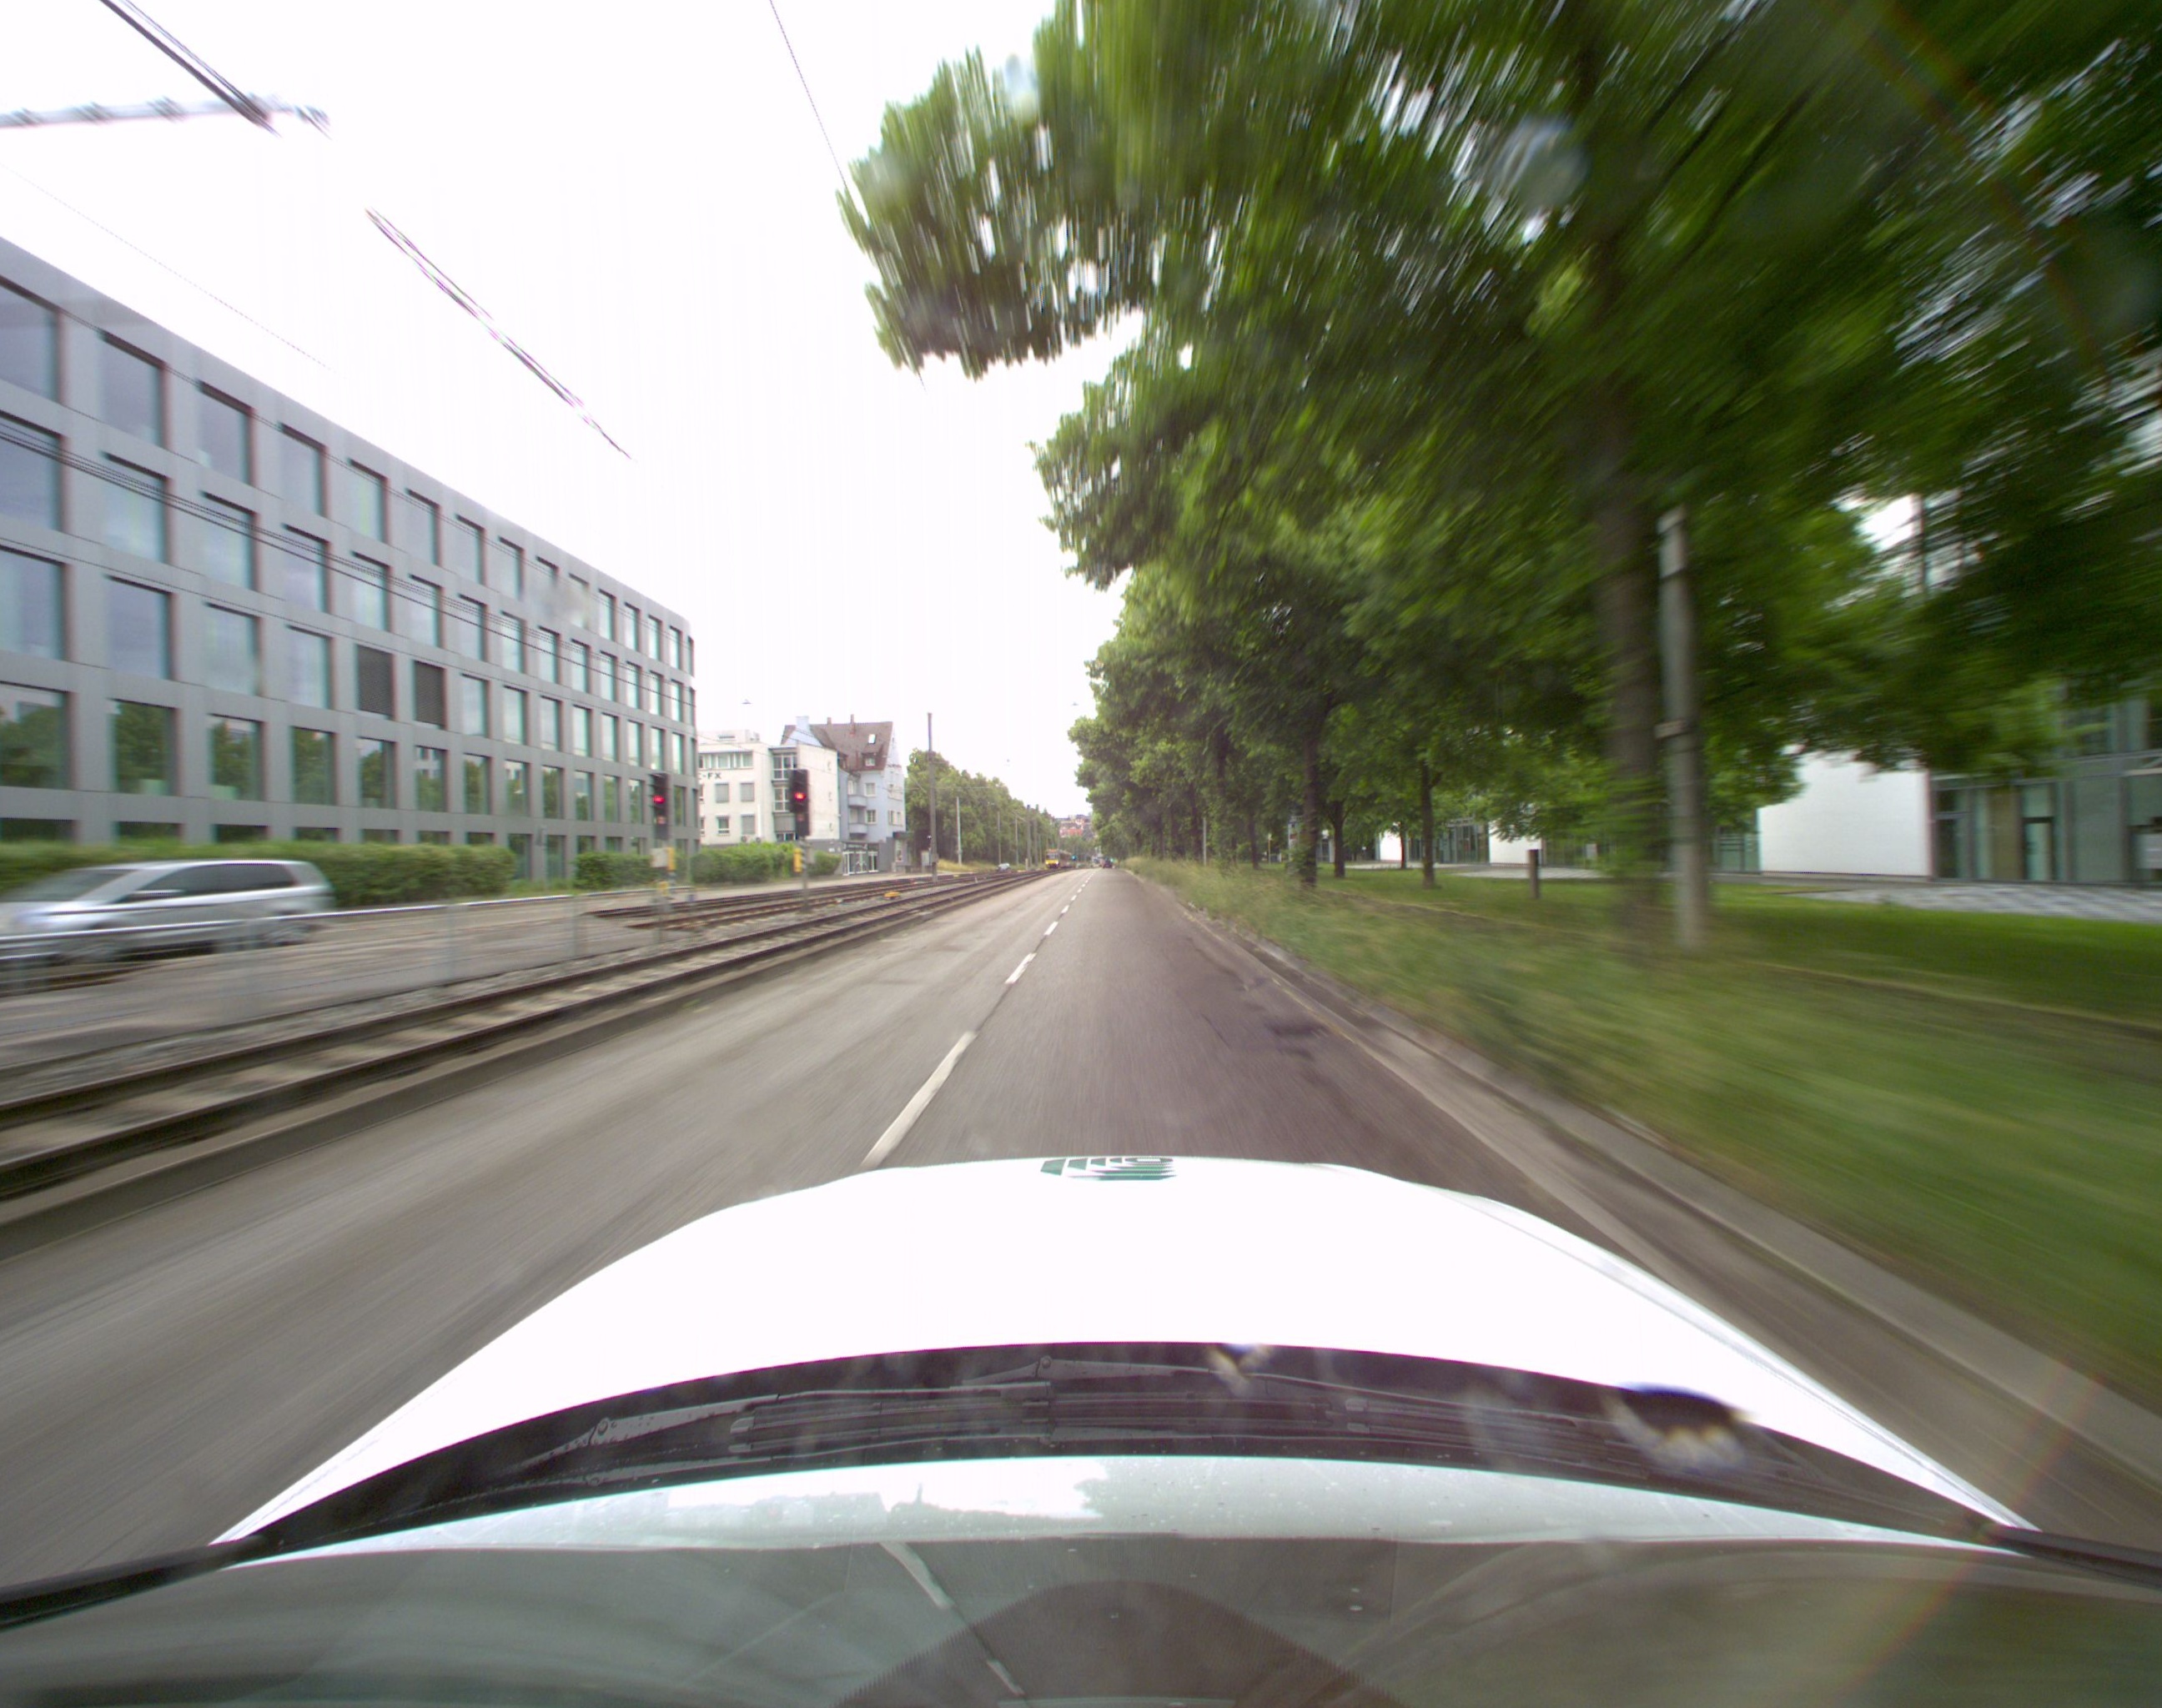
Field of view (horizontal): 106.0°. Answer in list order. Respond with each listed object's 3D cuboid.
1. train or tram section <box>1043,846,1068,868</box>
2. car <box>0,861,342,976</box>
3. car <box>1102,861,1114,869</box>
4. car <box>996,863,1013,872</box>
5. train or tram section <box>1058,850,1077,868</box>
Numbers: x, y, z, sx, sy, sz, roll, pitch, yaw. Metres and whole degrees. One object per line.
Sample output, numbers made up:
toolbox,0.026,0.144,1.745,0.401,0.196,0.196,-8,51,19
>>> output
train or tram section,-4.651,0.620,152.347,3.201,3.796,14.800,-2,-1,3
car,-16.215,0.979,14.247,1.894,1.645,4.888,-2,0,3
car,4.665,1.908,141.421,1.974,1.440,4.476,-2,0,2
car,-12.166,2.114,130.114,1.894,1.325,4.829,-2,-1,3
train or tram section,-2.956,1.161,182.027,3.201,3.796,14.800,-2,-1,3
